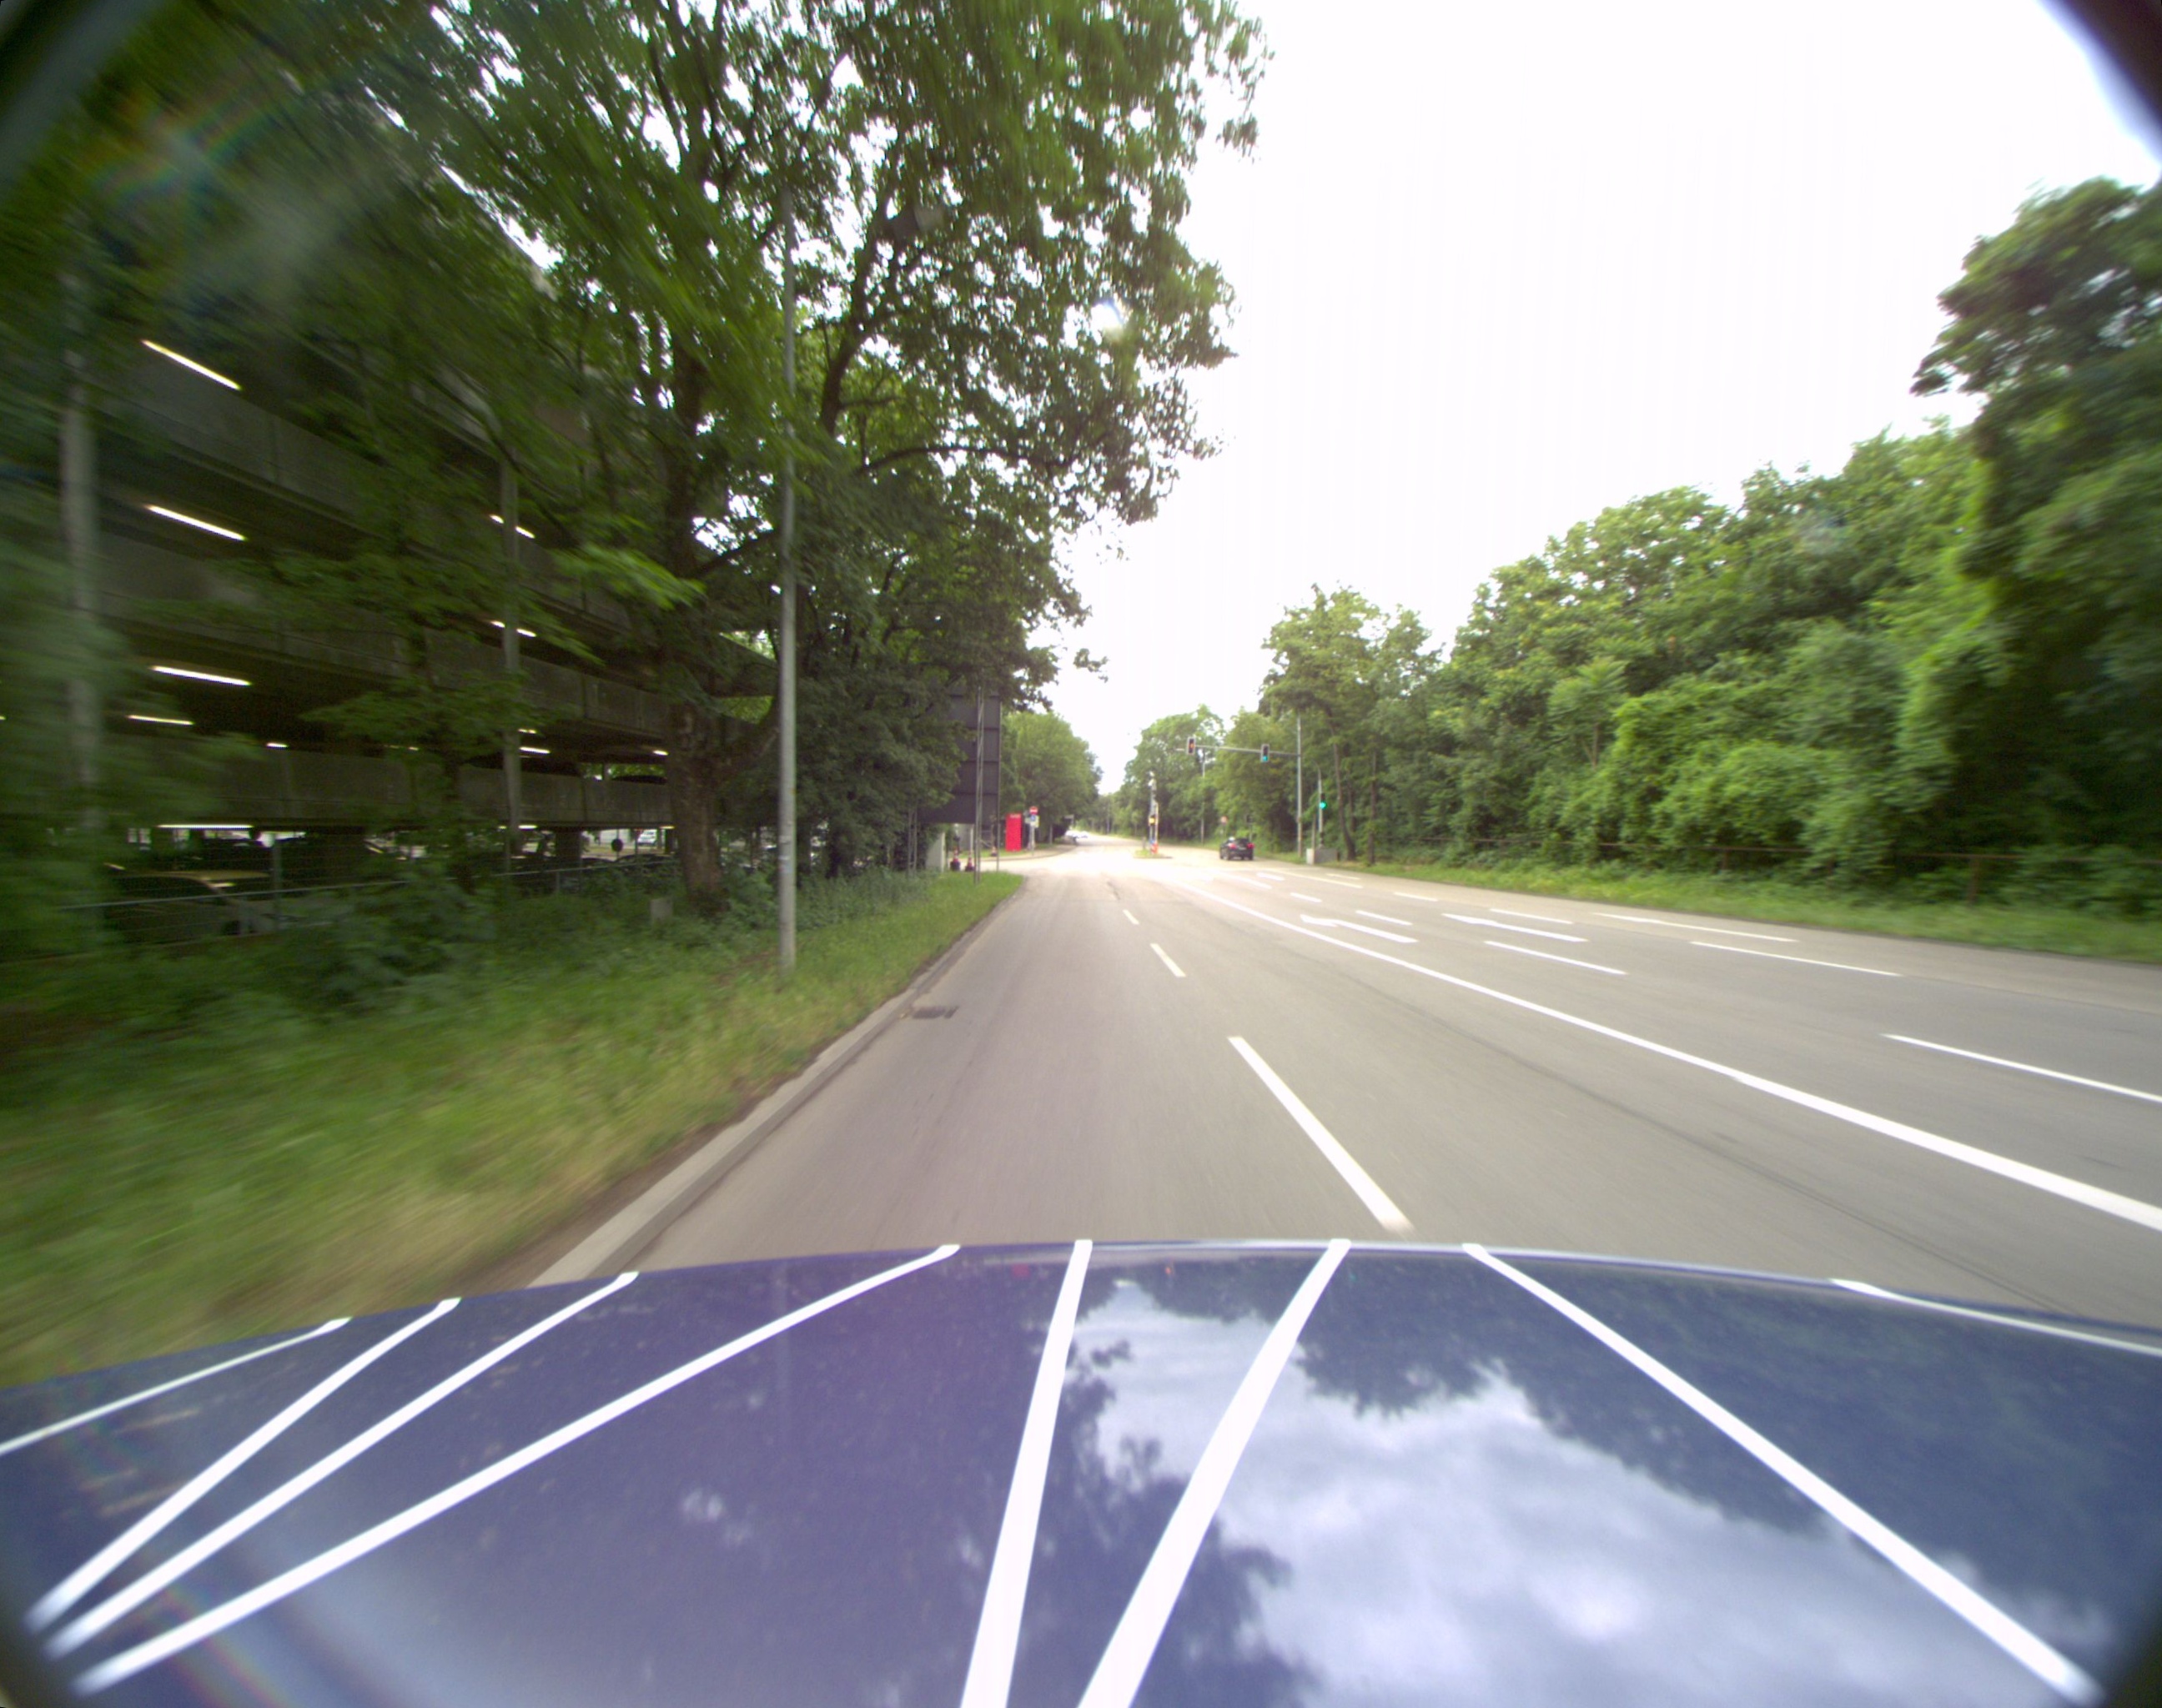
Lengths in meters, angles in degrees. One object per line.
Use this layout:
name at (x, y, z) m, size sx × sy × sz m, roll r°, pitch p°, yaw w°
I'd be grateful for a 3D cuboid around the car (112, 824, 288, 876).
car at (-31.898, -0.171, 27.605) m, size 3.997 × 1.719 × 1.999 m, roll 1°, pitch 4°, yaw 1°

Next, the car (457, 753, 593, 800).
car at (-15.977, -2.213, 21.915) m, size 2.894 × 1.240 × 1.355 m, roll 1°, pitch 4°, yaw 2°

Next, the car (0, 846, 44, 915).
car at (-26.551, 0.598, 17.233) m, size 3.723 × 1.517 × 1.710 m, roll 1°, pitch 4°, yaw 2°

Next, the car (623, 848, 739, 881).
car at (-15.461, 0.389, 29.474) m, size 3.637 × 1.155 × 1.622 m, roll 1°, pitch 2°, yaw 3°

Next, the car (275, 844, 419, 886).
car at (-26.583, 0.372, 27.594) m, size 3.772 × 1.357 × 1.522 m, roll 1°, pitch 3°, yaw 2°

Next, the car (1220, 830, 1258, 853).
car at (11.470, -0.932, 55.404) m, size 1.827 × 1.644 × 4.220 m, roll -1°, pitch 2°, yaw 0°

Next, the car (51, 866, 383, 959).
car at (-16.446, 1.078, 14.622) m, size 4.453 × 1.448 × 1.710 m, roll 1°, pitch 4°, yaw 2°
